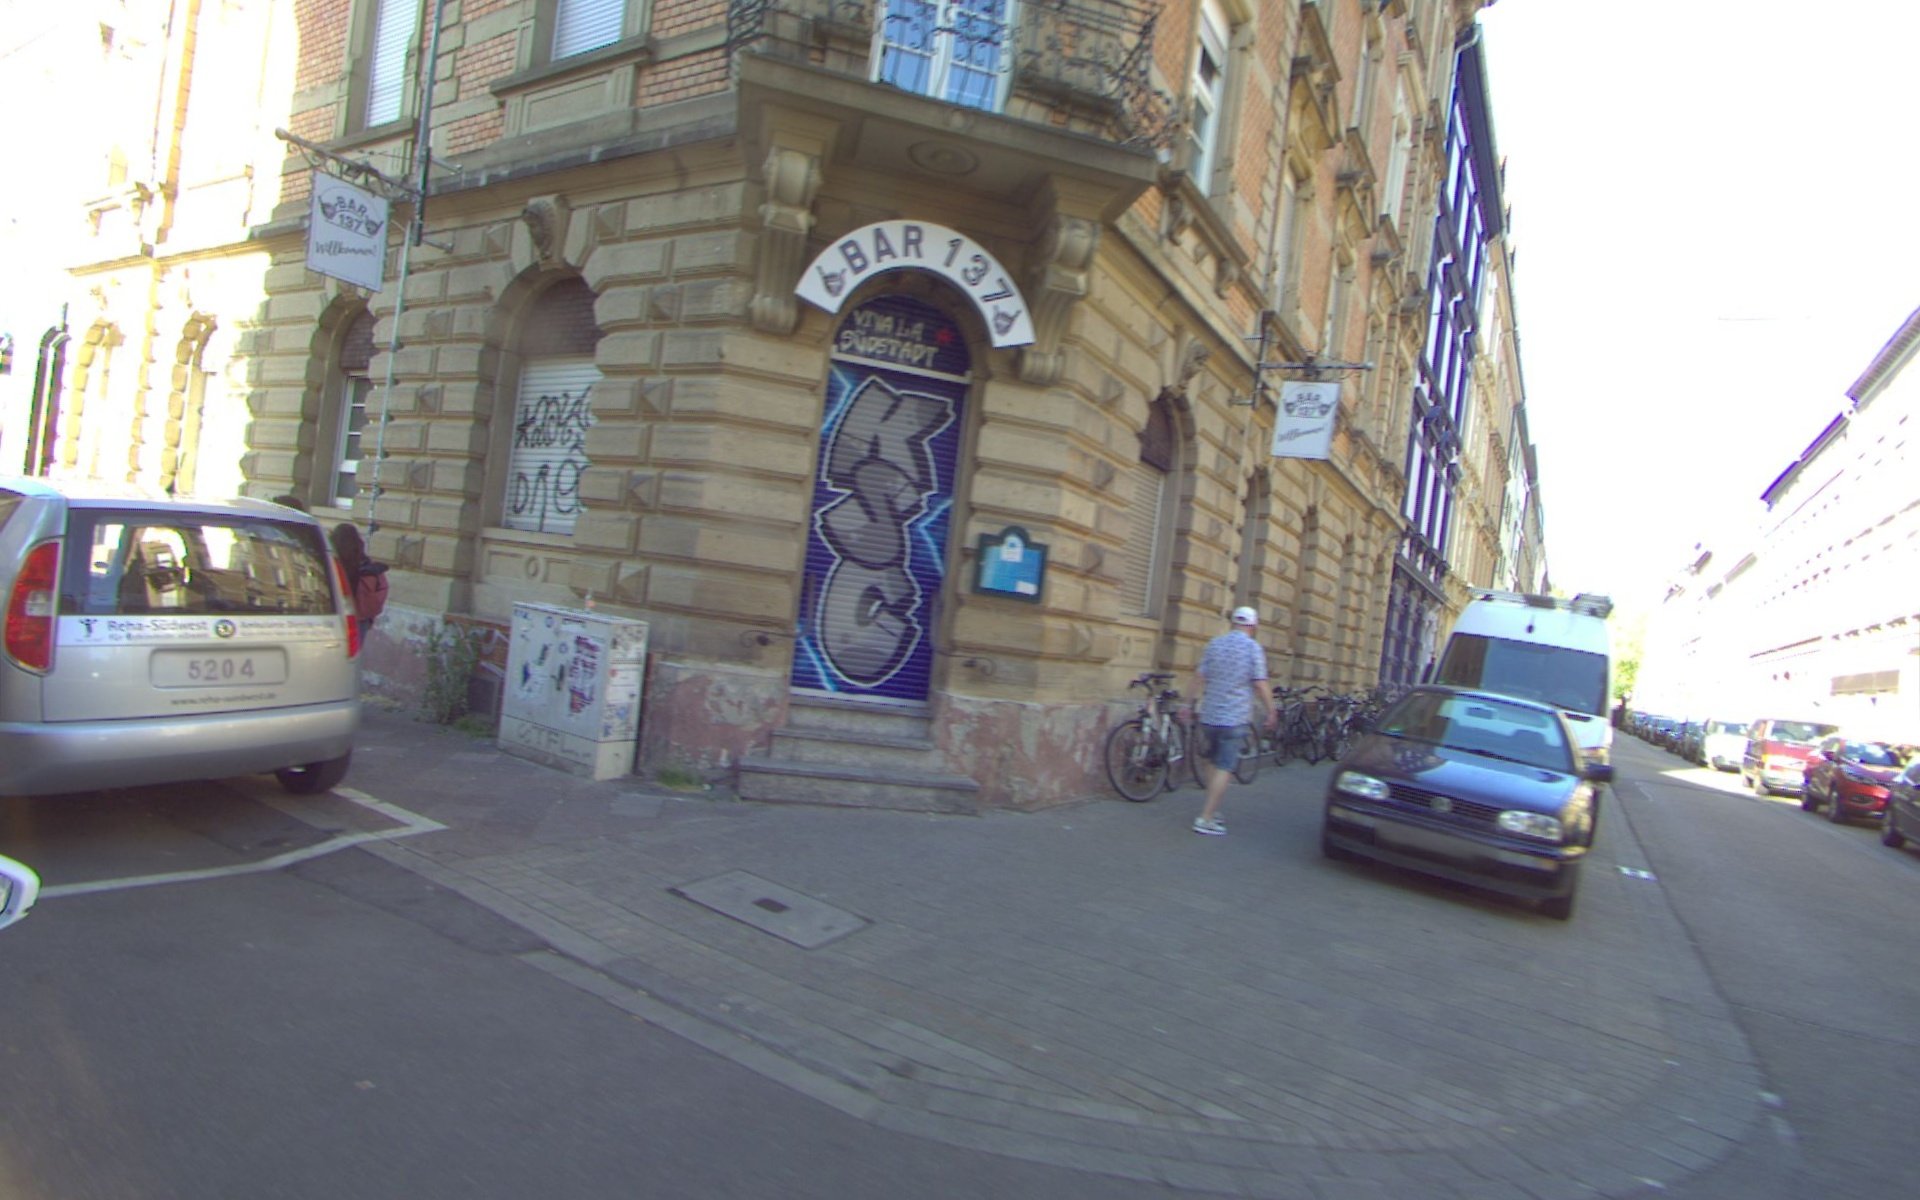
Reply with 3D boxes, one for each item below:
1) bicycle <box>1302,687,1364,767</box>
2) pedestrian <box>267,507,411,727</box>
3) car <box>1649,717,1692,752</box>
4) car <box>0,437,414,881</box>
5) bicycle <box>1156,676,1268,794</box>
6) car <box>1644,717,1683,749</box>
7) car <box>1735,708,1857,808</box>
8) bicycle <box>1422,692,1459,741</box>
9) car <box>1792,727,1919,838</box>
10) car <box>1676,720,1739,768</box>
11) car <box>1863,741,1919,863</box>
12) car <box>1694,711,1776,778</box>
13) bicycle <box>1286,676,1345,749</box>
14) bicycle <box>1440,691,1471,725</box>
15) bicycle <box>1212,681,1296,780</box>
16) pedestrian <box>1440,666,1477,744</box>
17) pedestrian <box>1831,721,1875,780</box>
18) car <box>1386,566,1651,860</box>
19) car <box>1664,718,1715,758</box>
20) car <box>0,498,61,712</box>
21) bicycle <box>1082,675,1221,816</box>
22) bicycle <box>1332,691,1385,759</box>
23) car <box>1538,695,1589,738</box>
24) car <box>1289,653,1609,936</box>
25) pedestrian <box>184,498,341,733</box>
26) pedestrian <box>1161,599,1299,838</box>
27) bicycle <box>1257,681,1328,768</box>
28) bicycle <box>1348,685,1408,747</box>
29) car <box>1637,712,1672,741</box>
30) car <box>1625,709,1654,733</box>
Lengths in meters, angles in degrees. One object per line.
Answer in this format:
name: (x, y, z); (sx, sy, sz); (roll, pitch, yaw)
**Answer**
bicycle: (5.668, 1.897, 15.238); (0.525, 1.067, 1.779); (7, -1, 29)
pedestrian: (-5.006, 0.135, 8.112); (0.722, 1.642, 0.574); (8, 1, 30)
car: (37.171, 7.008, 52.690); (1.477, 1.505, 3.521); (6, -2, 32)
car: (-5.036, 0.104, 5.519); (3.871, 1.735, 1.706); (7, 0, 30)
bicycle: (2.677, 1.385, 10.552); (0.525, 1.067, 1.778); (7, -1, 31)
car: (39.573, 7.452, 56.632); (1.477, 1.505, 3.521); (6, -2, 32)
car: (20.045, 3.707, 24.283); (1.512, 1.995, 4.022); (7, -1, 32)
bicycle: (12.769, 3.077, 26.699); (0.581, 1.195, 1.505); (7, -1, 33)
car: (16.816, 3.302, 18.440); (1.706, 1.601, 3.993); (7, -1, 32)
car: (28.297, 5.411, 38.154); (1.476, 1.451, 3.416); (7, -1, 32)
car: (13.695, 2.821, 13.358); (1.706, 1.487, 3.993); (7, -1, 32)
car: (25.078, 4.620, 32.662); (1.512, 1.770, 4.051); (7, -1, 32)
bicycle: (5.865, 1.830, 16.525); (0.525, 1.067, 1.779); (7, -1, 29)
bicycle: (16.872, 3.685, 34.253); (0.526, 1.067, 1.776); (7, -1, 37)
bicycle: (3.686, 1.590, 12.523); (0.525, 1.067, 1.779); (7, -1, 29)
pedestrian: (13.195, 2.766, 26.627); (0.660, 1.961, 0.663); (7, 0, 27)
pedestrian: (25.981, 4.371, 29.282); (0.699, 1.586, 0.722); (7, 0, 32)
car: (7.482, 1.413, 13.320); (2.032, 2.682, 6.820); (10, 0, 32)
car: (32.978, 6.215, 45.537); (1.477, 1.505, 3.521); (6, -2, 32)
car: (-8.685, -0.178, 7.721); (3.620, 1.531, 1.538); (7, 0, 30)
bicycle: (1.753, 1.251, 8.970); (0.525, 1.067, 1.778); (7, -1, 31)
bicycle: (6.976, 2.153, 17.560); (0.525, 1.067, 1.779); (7, -1, 29)
car: (24.832, 4.757, 41.369); (1.575, 1.442, 3.863); (7, -1, 32)
car: (4.136, 1.381, 8.156); (1.705, 1.469, 3.986); (8, -1, 33)
pedestrian: (-5.220, 0.113, 7.534); (0.715, 1.624, 0.591); (8, 1, 30)
pedestrian: (2.121, 0.919, 7.921); (0.658, 1.754, 0.569); (6, 1, -38)
bicycle: (4.682, 1.715, 14.106); (0.525, 1.067, 1.779); (7, -1, 29)
bicycle: (8.042, 2.226, 19.309); (0.526, 1.067, 1.776); (7, -1, 37)
car: (43.413, 7.890, 62.934); (1.477, 1.505, 3.521); (6, -2, 32)
car: (50.830, 9.042, 75.292); (1.477, 1.505, 3.521); (6, -2, 32)
